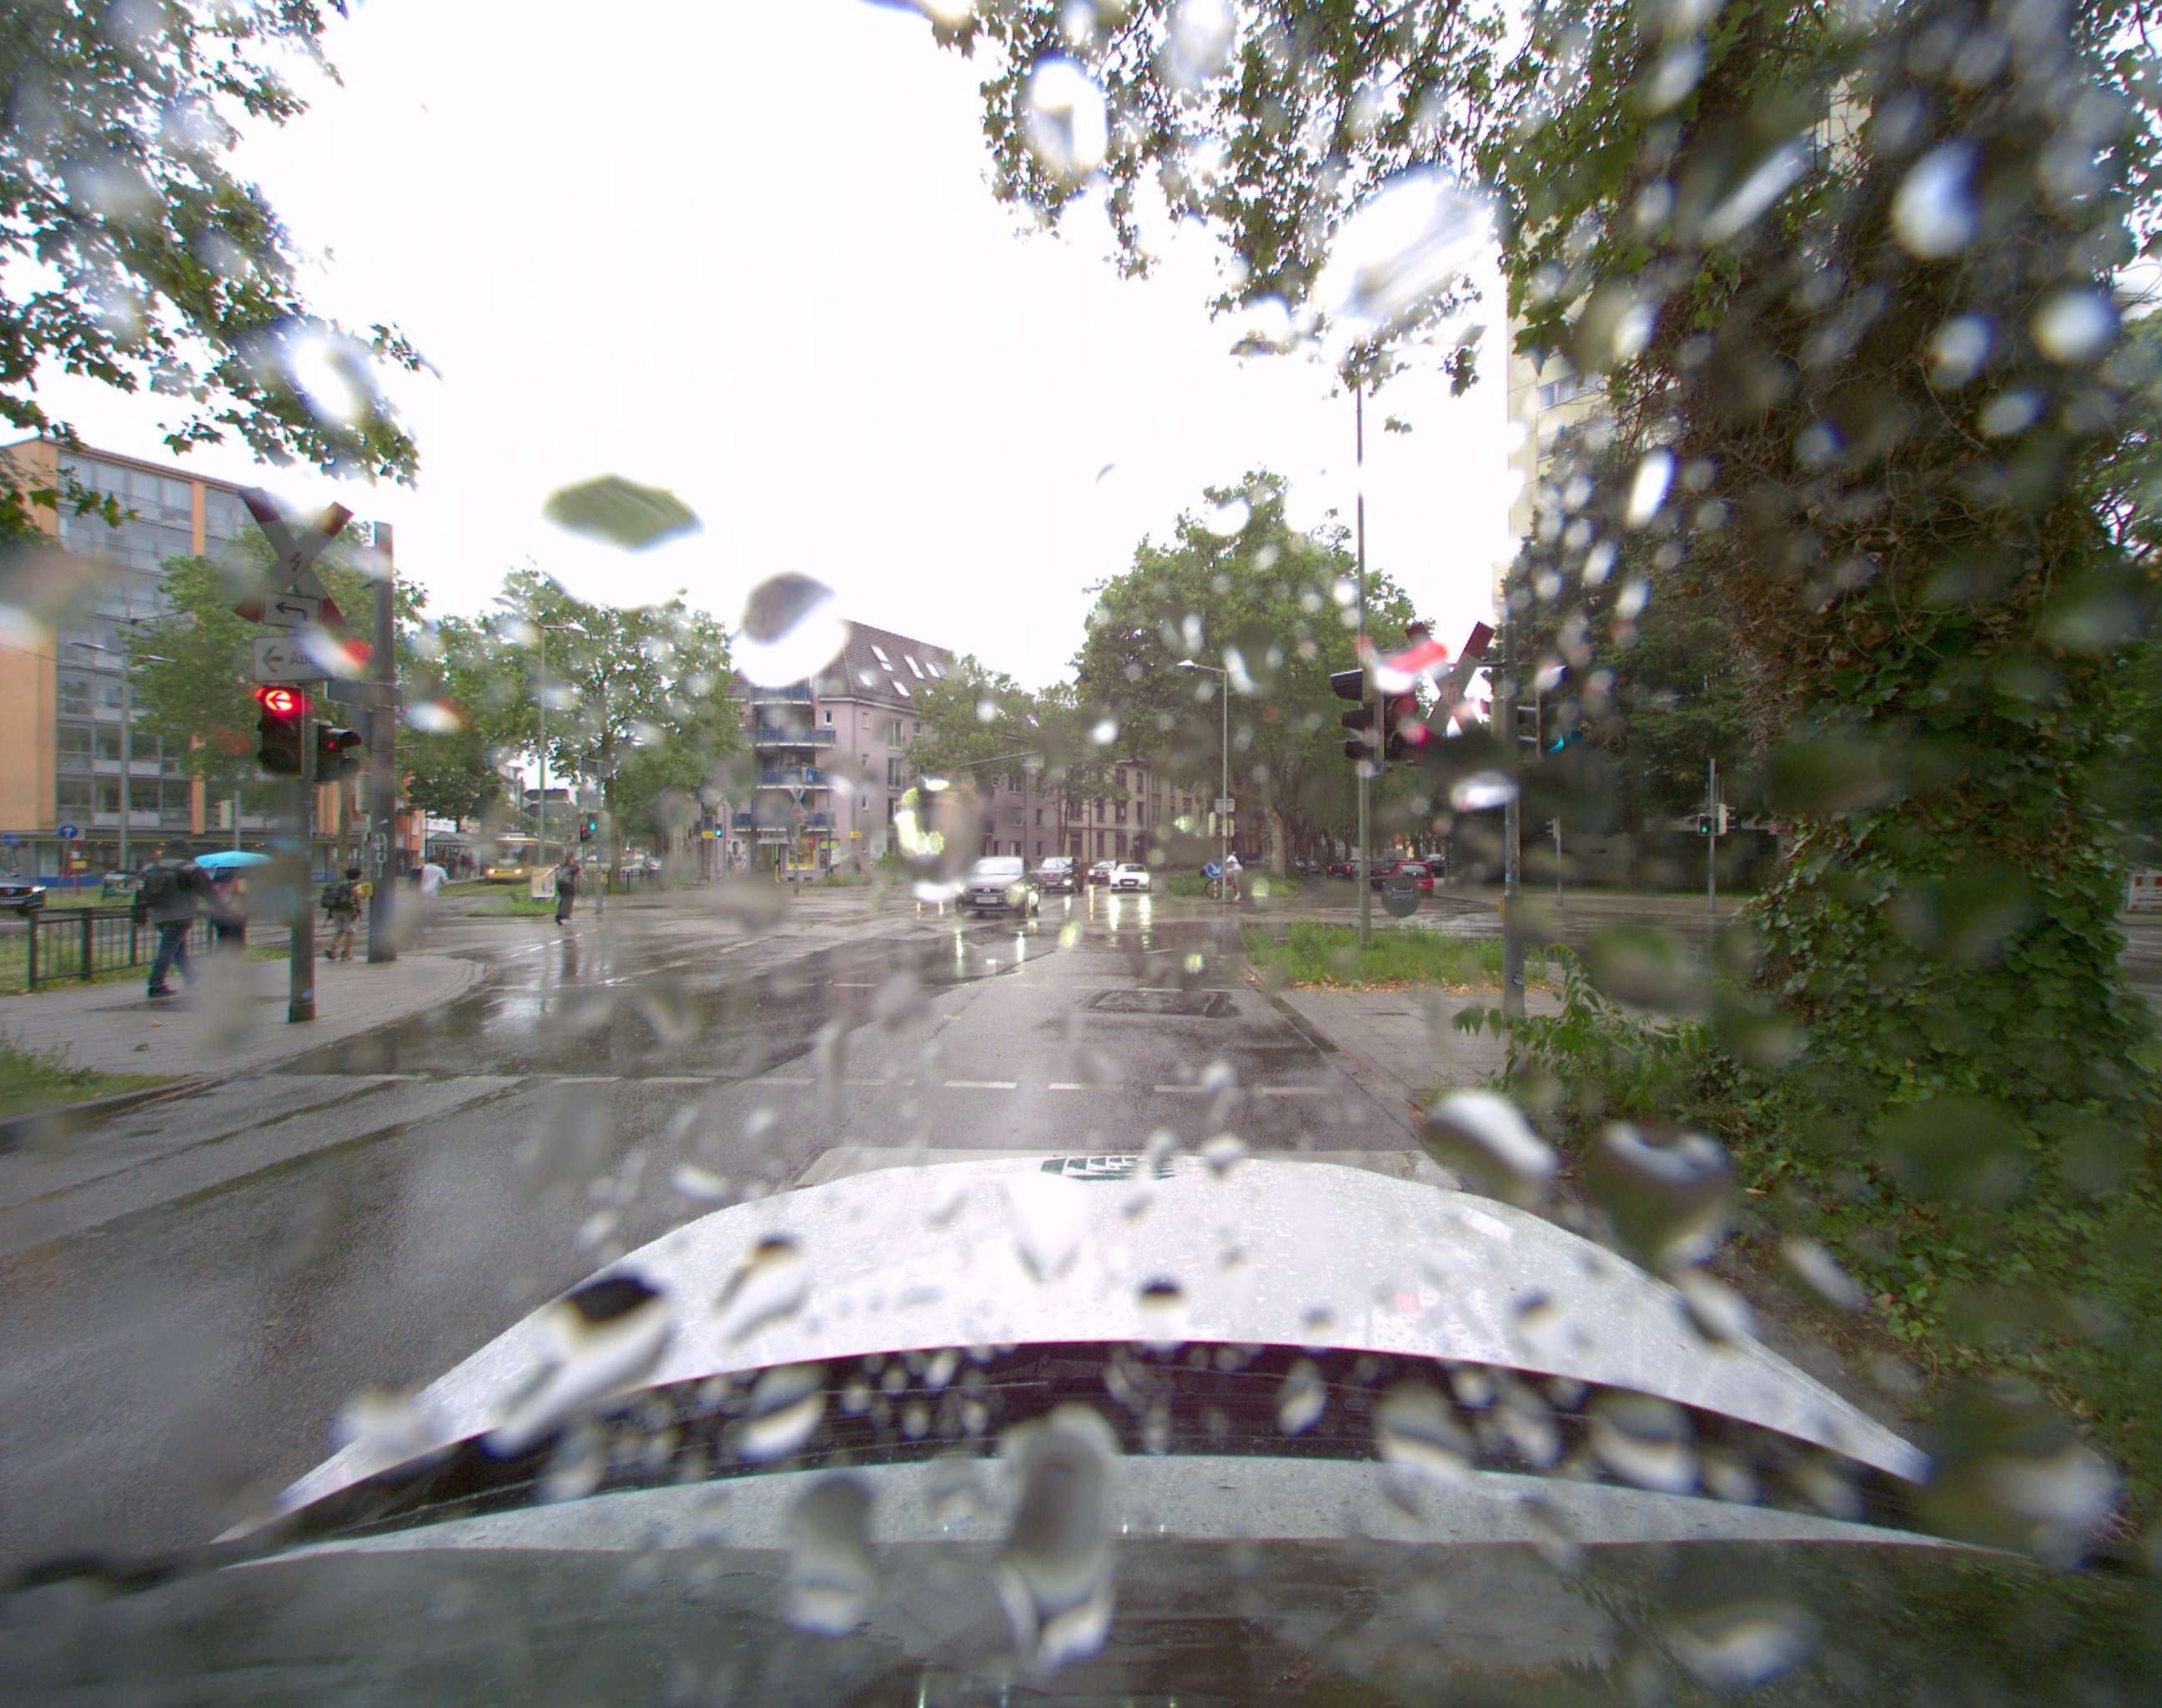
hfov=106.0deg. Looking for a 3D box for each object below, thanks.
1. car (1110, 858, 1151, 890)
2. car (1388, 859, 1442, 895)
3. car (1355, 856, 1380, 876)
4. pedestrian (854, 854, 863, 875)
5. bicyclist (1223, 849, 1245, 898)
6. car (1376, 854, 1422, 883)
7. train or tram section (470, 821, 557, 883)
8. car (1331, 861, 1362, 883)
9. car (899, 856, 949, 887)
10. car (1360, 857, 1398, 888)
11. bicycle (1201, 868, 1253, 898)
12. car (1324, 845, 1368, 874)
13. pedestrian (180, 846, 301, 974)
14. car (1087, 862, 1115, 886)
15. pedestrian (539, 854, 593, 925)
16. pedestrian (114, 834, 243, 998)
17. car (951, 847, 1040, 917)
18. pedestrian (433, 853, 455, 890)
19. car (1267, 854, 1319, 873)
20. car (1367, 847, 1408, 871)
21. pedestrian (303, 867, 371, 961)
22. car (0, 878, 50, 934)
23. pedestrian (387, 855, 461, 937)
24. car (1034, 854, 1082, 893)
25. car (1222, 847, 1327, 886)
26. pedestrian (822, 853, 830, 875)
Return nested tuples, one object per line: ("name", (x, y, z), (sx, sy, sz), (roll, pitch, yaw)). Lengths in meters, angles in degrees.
("car", (2.426, 0.934, 39.400), (1.876, 1.436, 4.004), (0, 0, 4))
("car", (14.826, 0.979, 36.340), (1.778, 1.498, 4.017), (0, 0, 16))
("car", (24.402, 1.028, 69.363), (1.759, 1.678, 4.022), (-1, -1, 23))
("pedestrian", (-14.568, 0.689, 53.261), (0.447, 1.329, 0.556), (0, -1, -29))
("bicyclist", (5.691, 0.714, 30.372), (0.790, 1.786, 0.699), (-1, -1, 9))
("car", (15.894, 0.694, 40.876), (1.770, 1.348, 3.945), (0, 1, 16))
("train or tram section", (-39.781, -0.057, 57.707), (2.897, 3.768, 17.089), (0, -1, -28))
("car", (18.055, 1.207, 55.233), (1.666, 1.474, 3.683), (-1, -1, 23))
("car", (-8.007, 0.854, 41.846), (1.745, 1.512, 3.839), (0, 0, 1))
("car", (17.325, 1.060, 47.432), (1.769, 1.727, 4.017), (-1, -1, 16))
("bicycle", (5.447, 1.069, 30.406), (1.862, 1.081, 0.658), (-1, -1, 9))
("car", (28.321, 0.580, 87.223), (2.040, 2.948, 4.742), (0, -1, -18))
("pedestrian", (-12.161, 0.772, 11.835), (0.962, 1.766, 0.944), (0, -1, -28))
("car", (1.295, 1.267, 51.869), (1.708, 1.459, 3.748), (0, -1, 1))
("pedestrian", (-11.432, 0.765, 18.097), (0.749, 1.533, 0.789), (0, -1, -9))
("pedestrian", (-10.642, 0.696, 9.637), (0.791, 1.855, 0.676), (0, 0, -22))
("car", (-2.047, 0.628, 20.614), (1.745, 1.591, 4.235), (0, 0, 1))
("pedestrian", (-38.330, 1.045, 49.020), (0.889, 2.151, 0.902), (0, -1, -30))
("car", (16.933, 0.790, 65.198), (3.958, 1.486, 2.008), (-1, -1, 14))
("car", (38.986, 0.631, 103.575), (2.006, 2.948, 4.726), (0, -1, -29))
("pedestrian", (-11.571, 0.902, 12.693), (0.653, 1.396, 0.774), (0, 0, -33))
("car", (-32.259, 1.482, 23.412), (3.994, 1.530, 1.615), (0, 1, 12))
("pedestrian", (-13.314, 0.828, 16.540), (0.671, 1.600, 0.968), (0, 1, 2))
("car", (-0.988, 0.834, 37.695), (1.795, 1.682, 4.608), (0, 0, 4))
("car", (7.753, 0.518, 32.668), (3.958, 1.486, 2.008), (-1, -1, 14))
("pedestrian", (-16.592, 0.644, 52.977), (0.444, 1.457, 0.560), (0, -1, -8))
